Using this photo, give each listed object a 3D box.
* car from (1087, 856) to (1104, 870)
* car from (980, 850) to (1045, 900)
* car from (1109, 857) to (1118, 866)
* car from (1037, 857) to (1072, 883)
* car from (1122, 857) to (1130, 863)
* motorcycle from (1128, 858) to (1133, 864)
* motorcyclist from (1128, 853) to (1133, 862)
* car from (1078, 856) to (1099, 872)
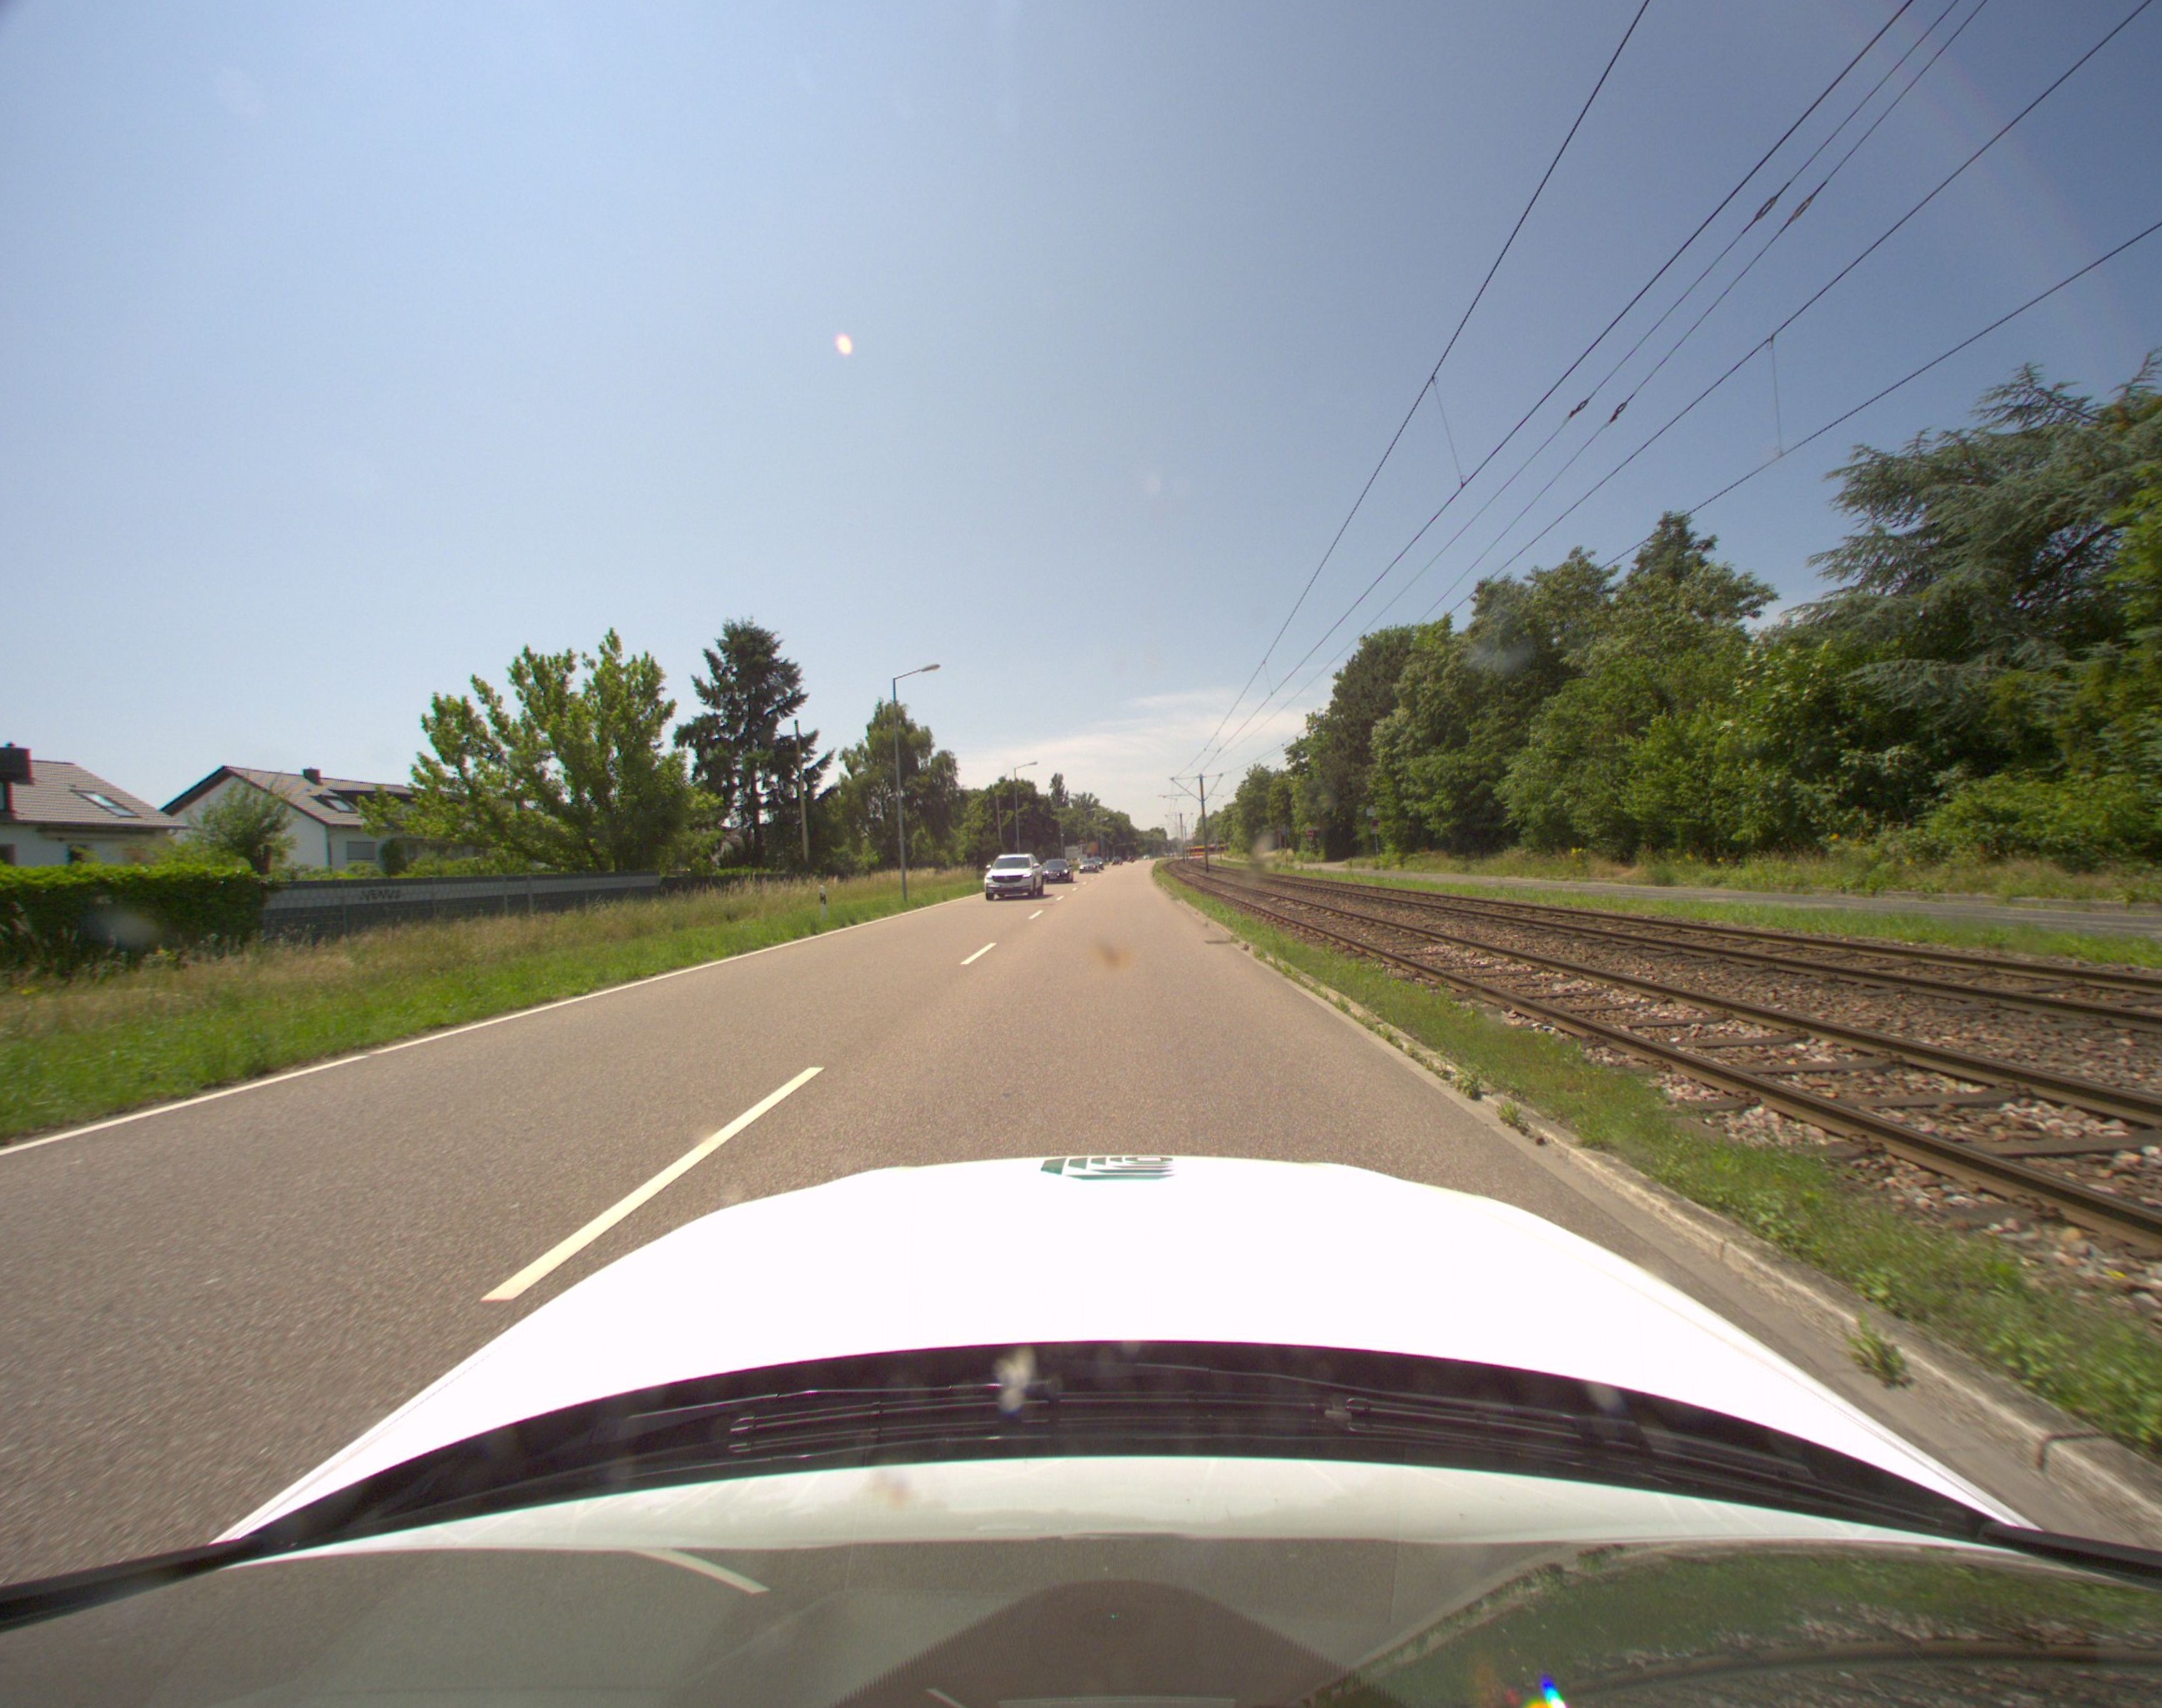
[{"bbox_3d":[1.775,1.077,96.595,1.810,1.538,4.366,-2,-1,3],"label":"car"},{"bbox_3d":[-2.657,0.797,32.696,1.928,1.796,4.715,-2,-1,3],"label":"car"},{"bbox_3d":[5.716,1.395,142.873,1.620,1.490,4.366,-2,-1,3],"label":"car"},{"bbox_3d":[-1.611,0.969,50.961,1.810,1.528,4.366,-2,-1,3],"label":"car"},{"bbox_3d":[11.876,1.599,215.016,1.618,1.395,4.371,-2,-1,7],"label":"car"},{"bbox_3d":[10.491,1.489,171.796,0.966,1.117,2.735,-2,-1,4],"label":"motorcycle"},{"bbox_3d":[10.438,0.808,171.766,0.887,1.905,1.016,-2,-1,4],"label":"motorcyclist"},{"bbox_3d":[0.774,0.979,80.315,1.810,1.493,4.366,-2,-1,3],"label":"car"}]
